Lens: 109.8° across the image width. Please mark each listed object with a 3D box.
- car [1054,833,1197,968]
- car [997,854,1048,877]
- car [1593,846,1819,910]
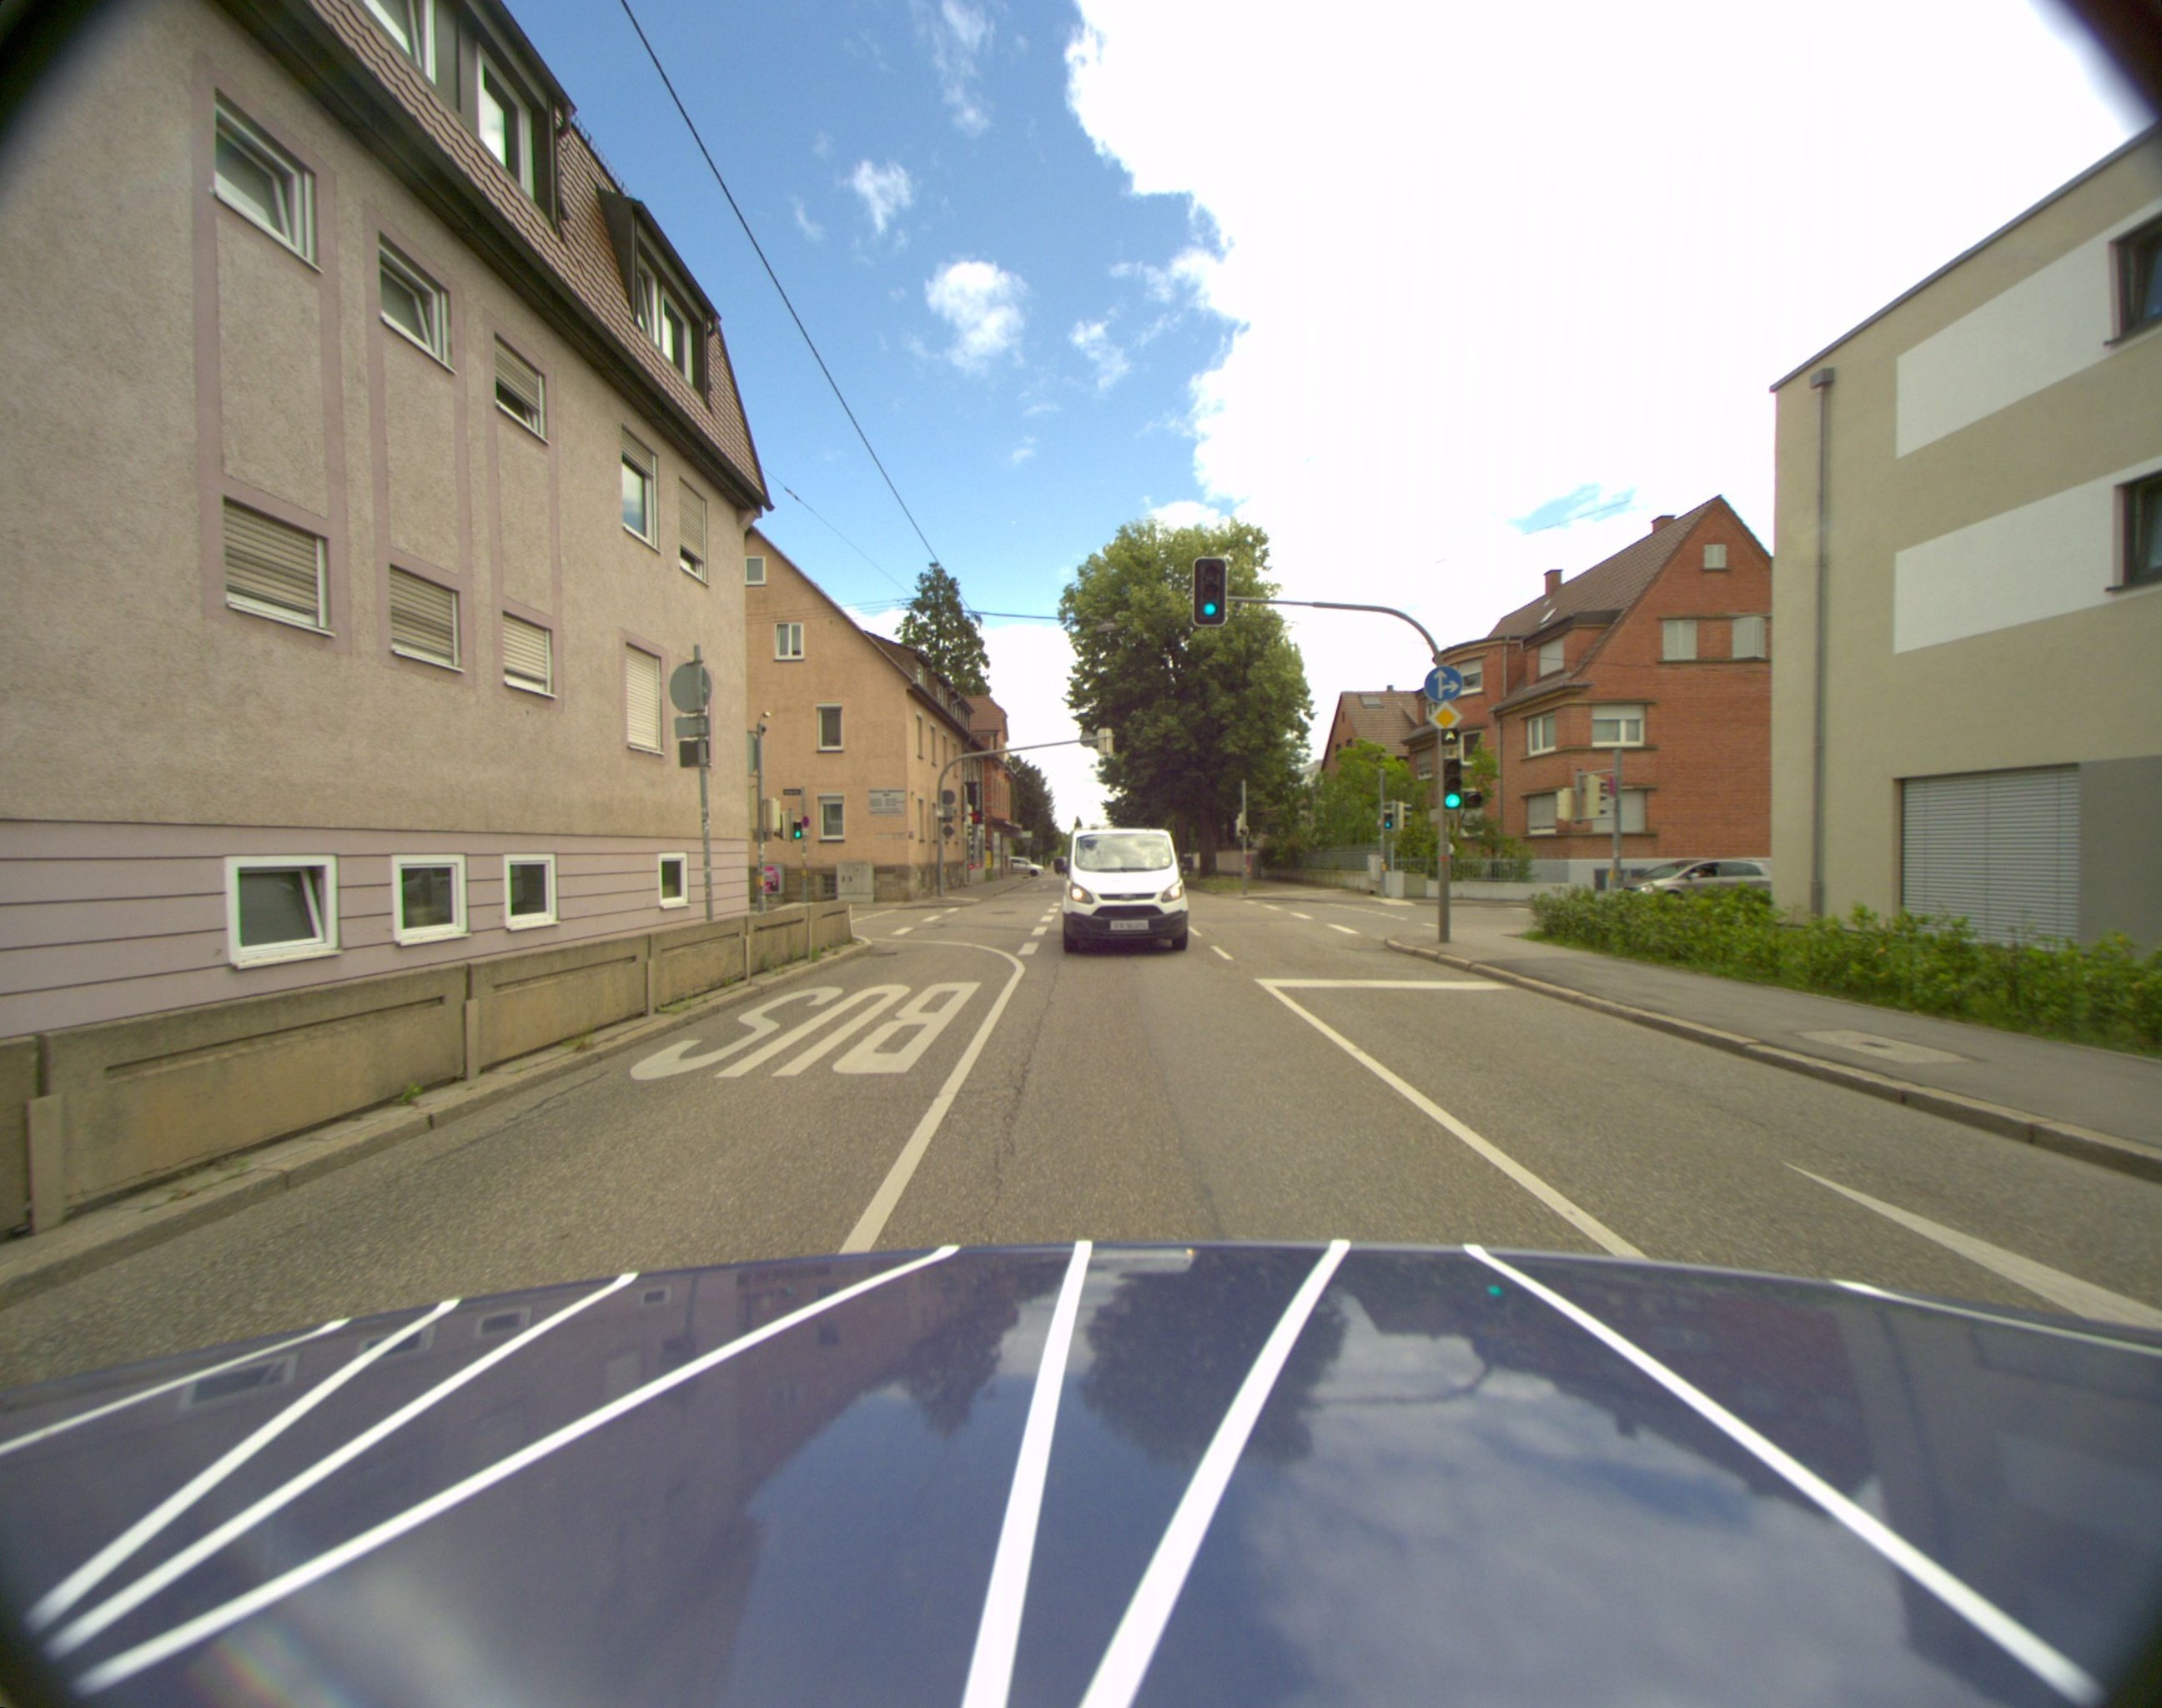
[{"bbox_3d":[0.657,0.666,13.624,2.062,1.945,5.060,-1,0,0],"label":"car"},{"bbox_3d":[-4.786,0.920,62.368,3.998,1.674,1.838,-2,1,-3],"label":"car"},{"bbox_3d":[17.785,0.646,21.779,4.813,1.675,2.175,-1,0,-4],"label":"car"}]
